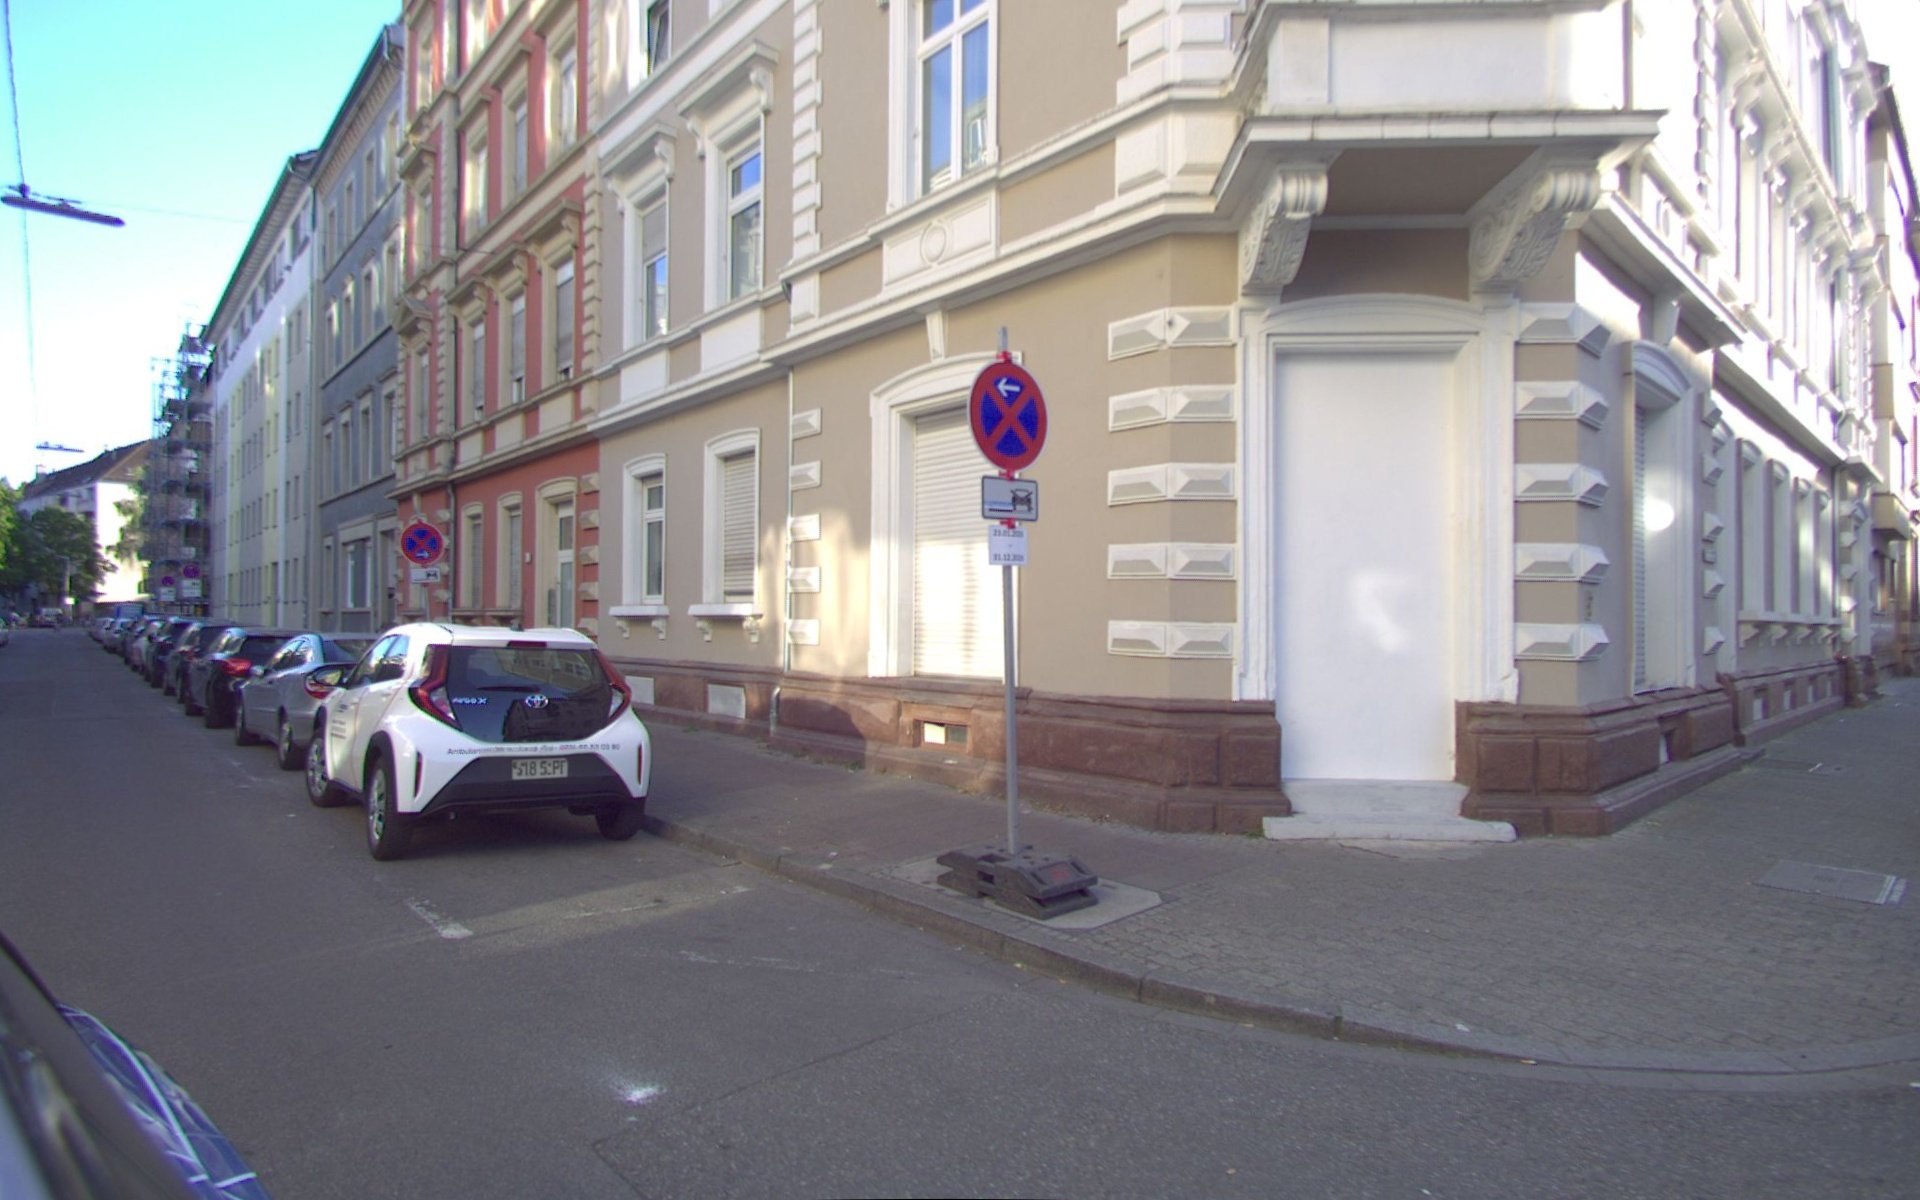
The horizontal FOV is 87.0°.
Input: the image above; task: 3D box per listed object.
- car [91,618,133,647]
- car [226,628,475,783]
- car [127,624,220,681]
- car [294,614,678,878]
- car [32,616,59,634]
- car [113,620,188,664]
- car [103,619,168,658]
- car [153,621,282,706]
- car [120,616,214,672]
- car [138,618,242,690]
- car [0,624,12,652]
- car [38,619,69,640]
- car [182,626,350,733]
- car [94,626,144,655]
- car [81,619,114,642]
[{"bbox_3d":[-55.354,2.101,66.015,1.969,1.807,4.005,1,-1,-42],"label":"car"},{"bbox_3d":[-7.081,1.084,11.582,1.590,1.439,3.966,5,-4,-43],"label":"car"},{"bbox_3d":[-22.104,1.407,28.373,1.638,1.440,4.357,1,-1,-43],"label":"car"},{"bbox_3d":[-3.833,0.923,7.823,1.663,1.507,3.850,6,-5,-40],"label":"car"},{"bbox_3d":[-92.902,2.553,102.891,1.969,1.807,4.005,1,-1,-42],"label":"car"},{"bbox_3d":[-31.893,1.604,39.821,1.970,1.597,4.498,1,-1,-43],"label":"car"},{"bbox_3d":[-35.239,1.595,43.197,1.969,1.588,4.155,1,-1,-42],"label":"car"},{"bbox_3d":[-14.852,1.205,20.157,1.515,1.510,4.200,4,-3,-43],"label":"car"},{"bbox_3d":[-25.375,1.334,32.326,1.970,1.662,4.498,1,-1,-43],"label":"car"},{"bbox_3d":[-18.224,1.203,23.874,1.574,1.534,4.435,1,-1,-42],"label":"car"},{"bbox_3d":[-52.366,2.030,54.512,1.828,1.500,4.004,1,-2,-43],"label":"car"},{"bbox_3d":[-79.015,2.546,88.244,1.969,1.807,4.005,1,-1,-42],"label":"car"},{"bbox_3d":[-10.762,1.173,15.579,1.566,1.426,3.917,6,-5,-41],"label":"car"},{"bbox_3d":[-48.528,2.302,58.339,1.970,1.597,4.498,1,-1,-43],"label":"car"},{"bbox_3d":[-70.454,2.478,82.608,1.969,1.807,4.005,1,-1,-42],"label":"car"}]
